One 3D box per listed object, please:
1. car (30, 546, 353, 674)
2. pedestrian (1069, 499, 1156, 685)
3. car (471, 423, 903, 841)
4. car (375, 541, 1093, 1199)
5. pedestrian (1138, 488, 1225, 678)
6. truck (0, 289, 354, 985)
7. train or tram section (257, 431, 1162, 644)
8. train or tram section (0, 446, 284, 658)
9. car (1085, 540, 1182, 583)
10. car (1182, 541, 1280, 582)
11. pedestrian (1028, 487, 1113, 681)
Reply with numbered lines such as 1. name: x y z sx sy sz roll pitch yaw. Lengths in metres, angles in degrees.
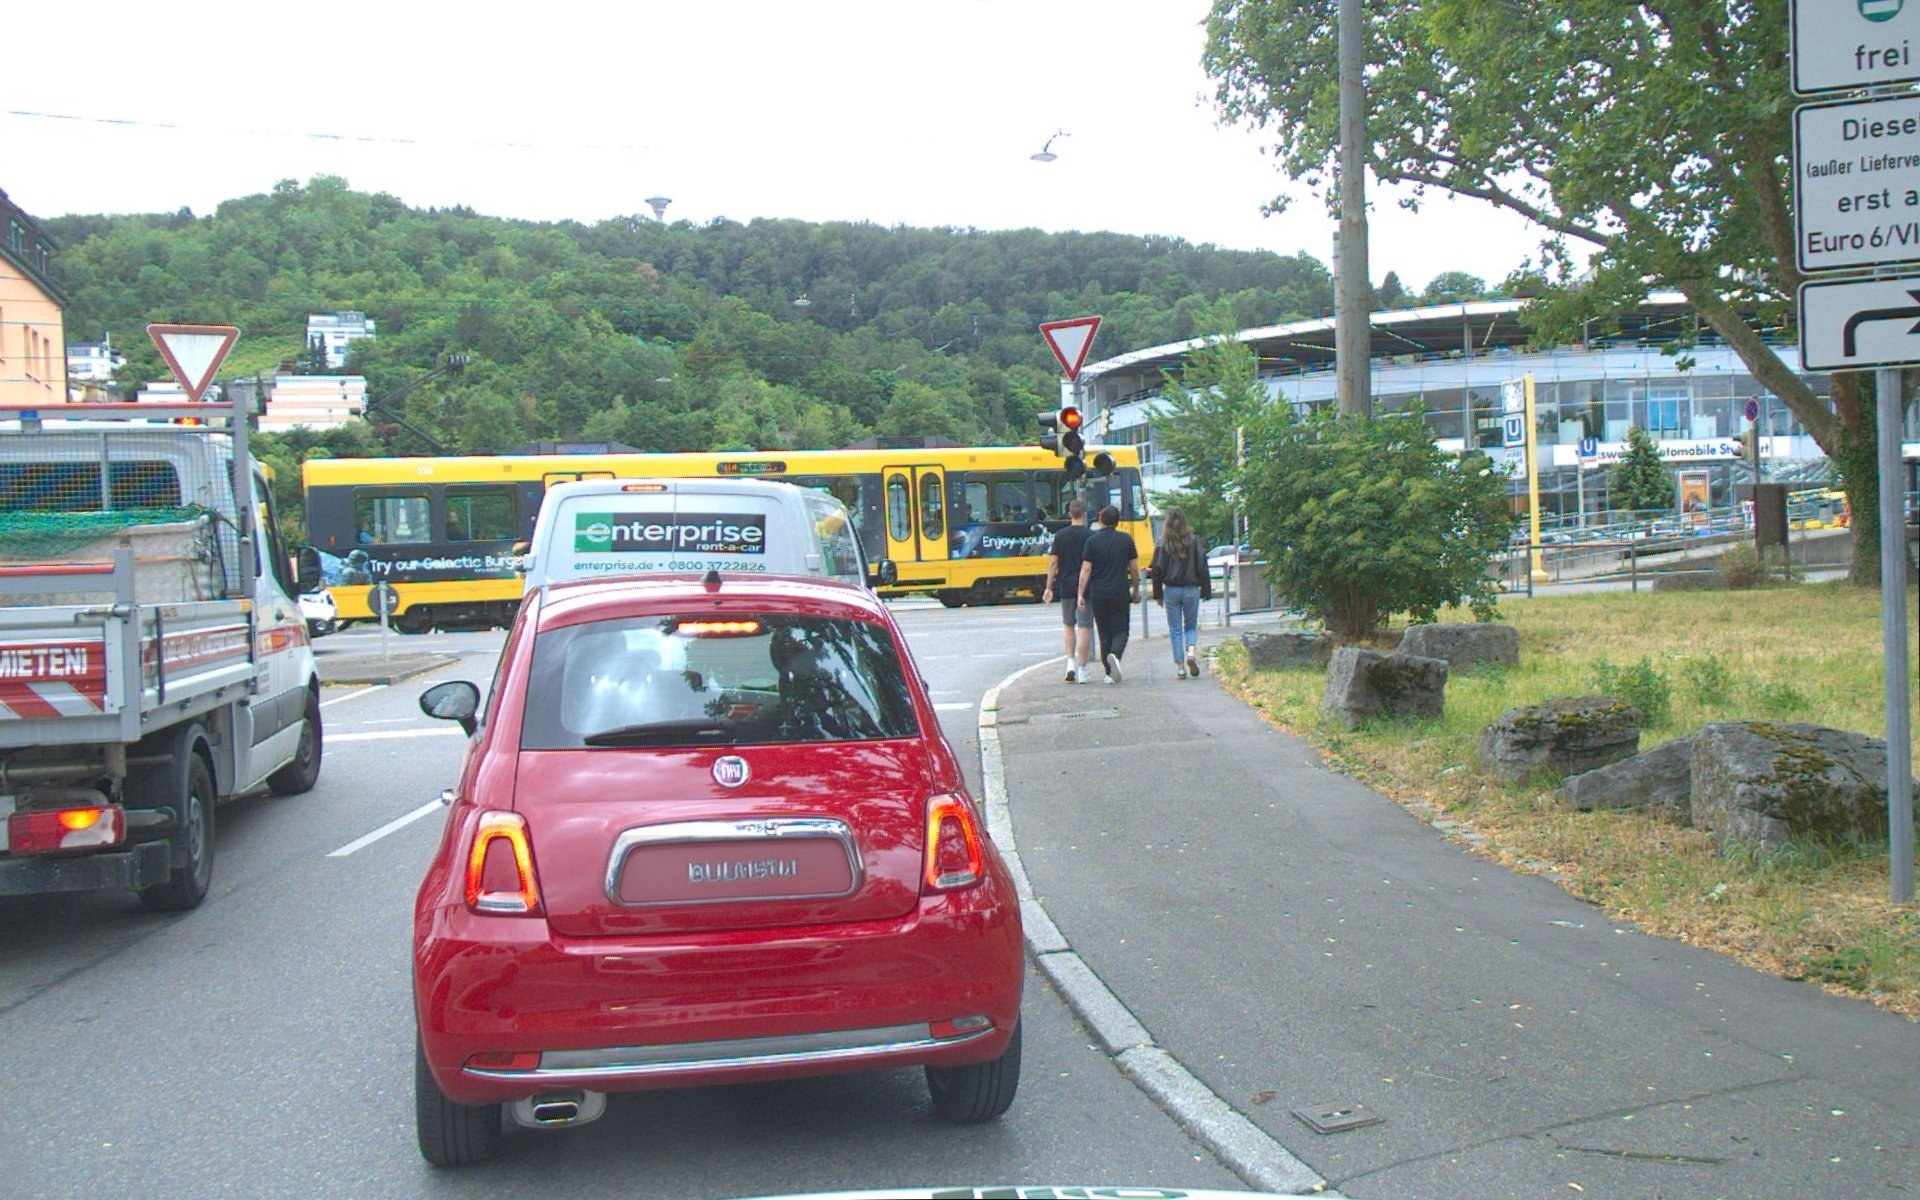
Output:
1. car: -11.146 0.102 24.309 4.052 1.611 1.793 -3 2 -19
2. pedestrian: 1.494 -0.087 16.134 0.678 1.744 0.789 -2 1 12
3. car: -1.548 0.112 11.248 1.948 2.143 4.763 -3 1 1
4. car: -0.819 0.600 5.501 1.610 1.482 3.421 -2 1 -11
5. pedestrian: 2.164 -0.172 16.082 0.678 1.770 0.789 -2 1 15
6. truck: -4.819 0.137 8.533 2.381 2.439 6.008 -3 1 -14
7. train or tram section: -4.816 -1.529 35.818 18.835 3.729 3.258 -3 2 -21
8. train or tram section: -22.619 -0.593 29.905 18.806 3.729 3.263 -3 1 -17
9. car: 6.817 -1.511 65.272 1.754 1.526 3.837 -3 2 -33
10. car: 10.957 -1.559 67.022 1.753 1.526 3.979 -3 2 -31
11. pedestrian: 1.123 -0.171 16.743 0.678 1.889 0.789 -2 1 11
